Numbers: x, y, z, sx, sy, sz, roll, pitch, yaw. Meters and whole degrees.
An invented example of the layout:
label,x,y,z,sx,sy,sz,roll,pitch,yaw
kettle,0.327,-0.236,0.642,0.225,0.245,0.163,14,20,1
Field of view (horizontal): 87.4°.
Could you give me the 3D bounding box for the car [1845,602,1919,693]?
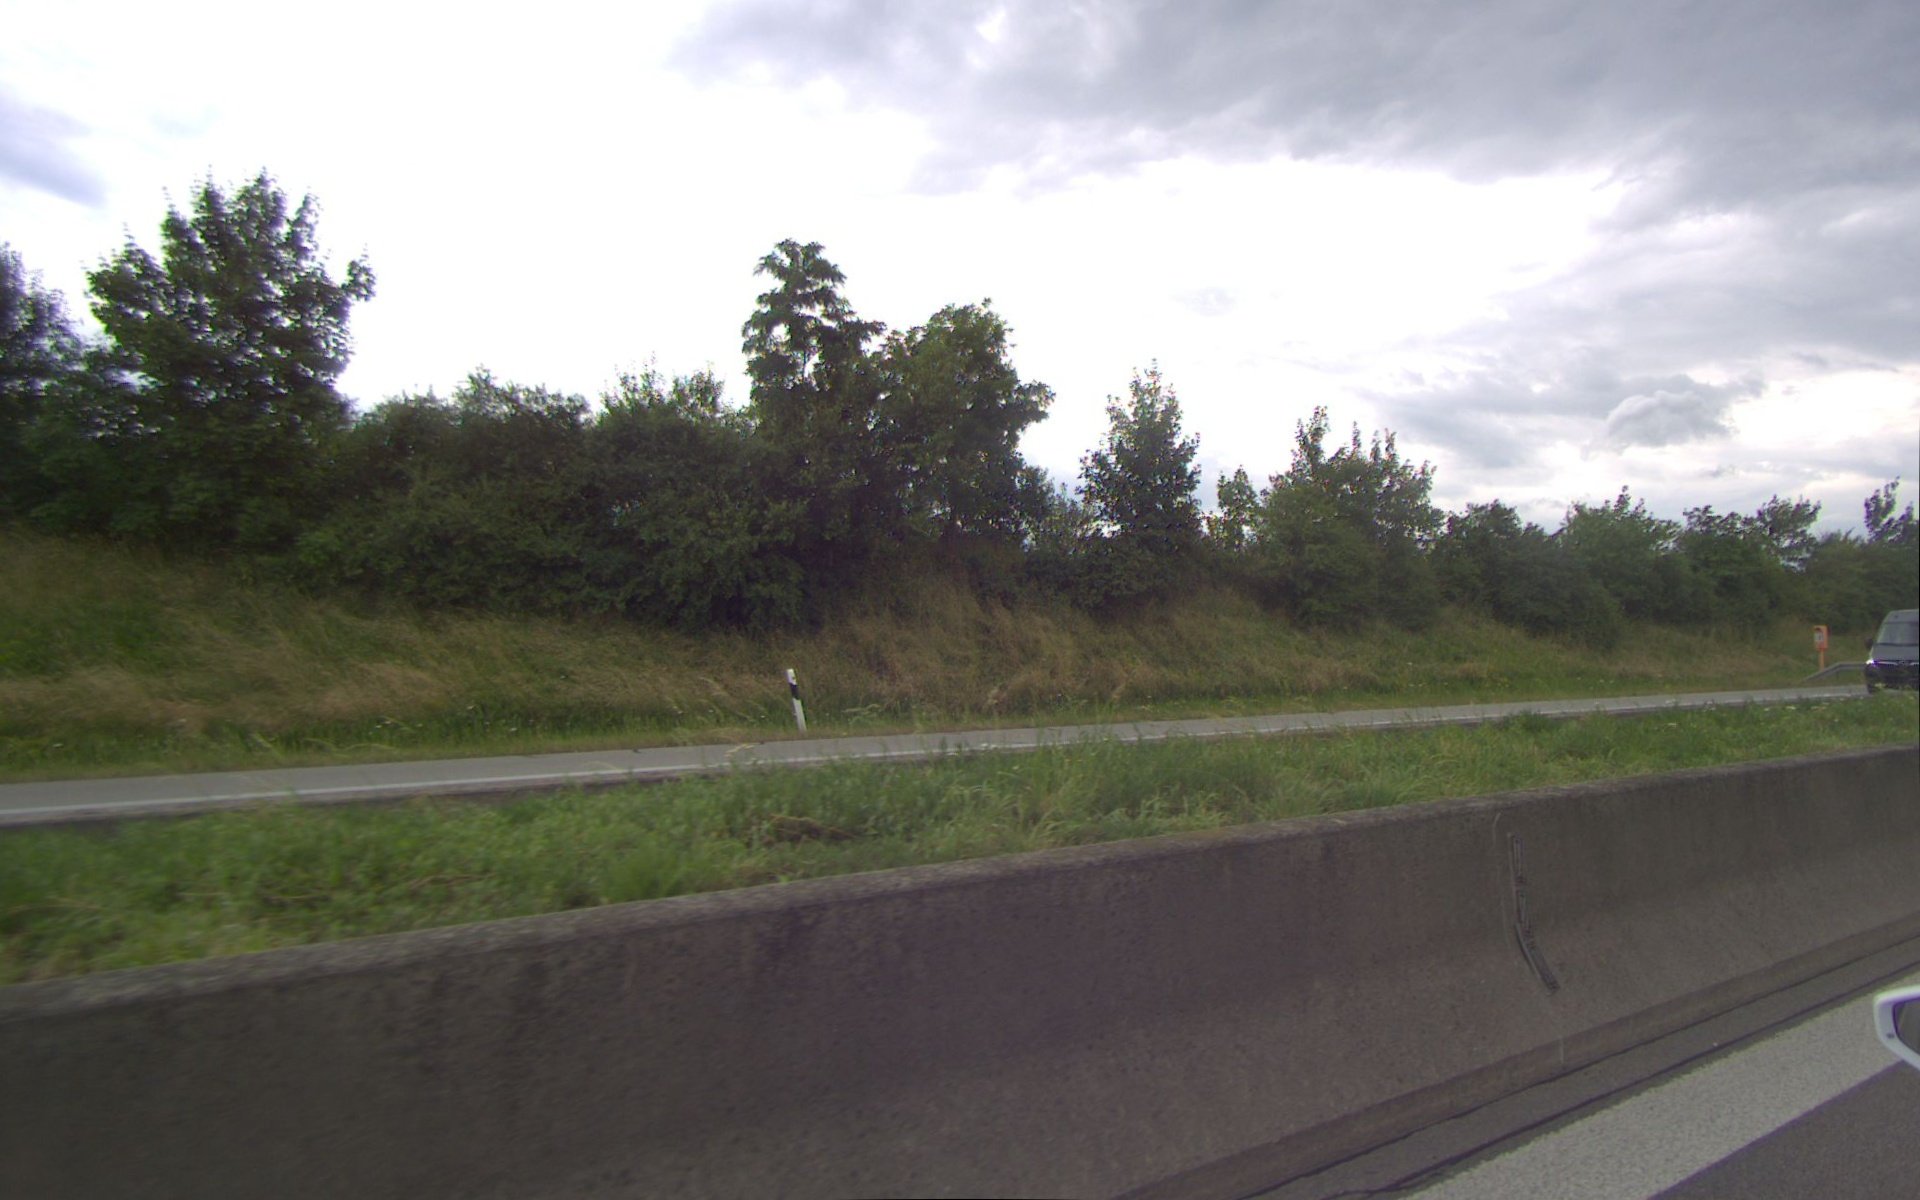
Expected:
label,x,y,z,sx,sy,sz,roll,pitch,yaw
car,28.770,1.398,29.519,6.645,2.497,2.159,2,-3,-31
